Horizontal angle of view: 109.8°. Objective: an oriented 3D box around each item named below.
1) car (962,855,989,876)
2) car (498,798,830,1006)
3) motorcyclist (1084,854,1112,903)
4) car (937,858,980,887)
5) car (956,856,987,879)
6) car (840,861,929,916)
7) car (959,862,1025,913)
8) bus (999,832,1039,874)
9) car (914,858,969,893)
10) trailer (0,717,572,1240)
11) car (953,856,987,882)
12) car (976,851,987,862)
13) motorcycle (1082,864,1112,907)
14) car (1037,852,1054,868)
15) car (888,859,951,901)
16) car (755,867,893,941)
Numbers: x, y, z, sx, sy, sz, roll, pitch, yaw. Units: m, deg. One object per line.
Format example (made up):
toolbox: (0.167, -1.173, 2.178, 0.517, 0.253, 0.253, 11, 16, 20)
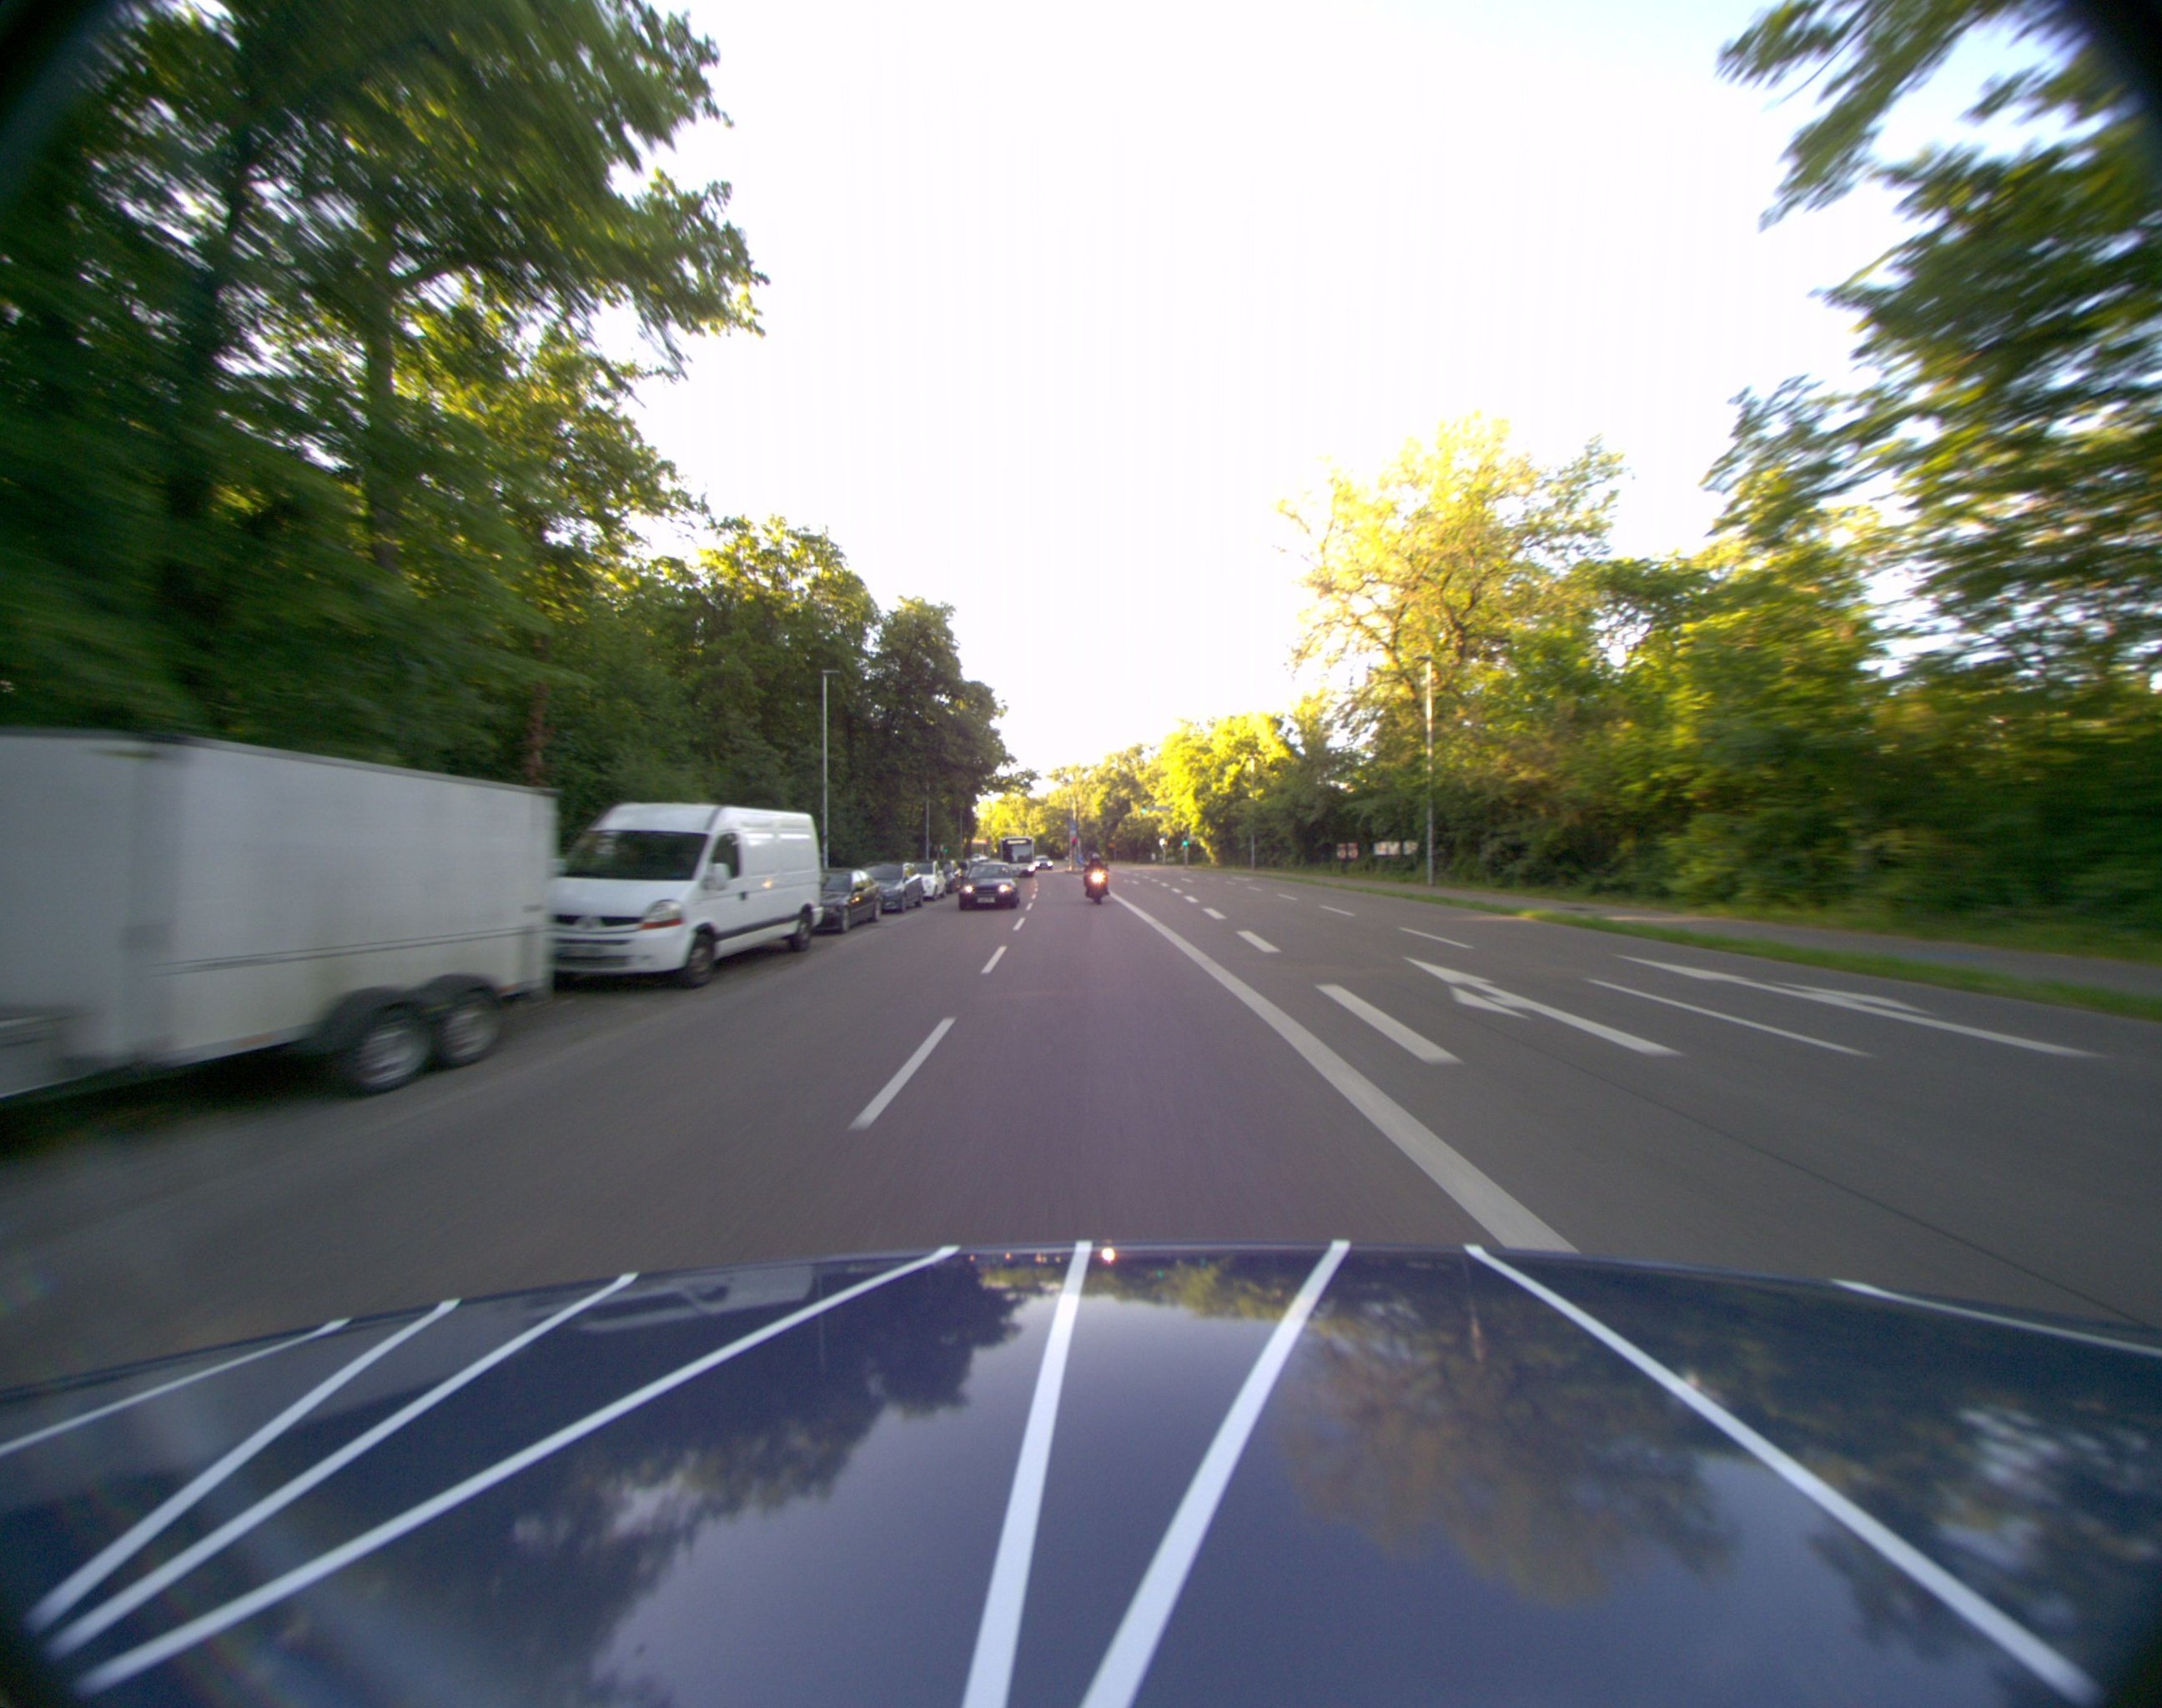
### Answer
car: (-7.719, 0.826, 55.710, 1.723, 1.460, 4.200, 0, 1, -4)
car: (-5.742, 0.525, 11.572, 1.909, 2.409, 5.575, 0, 1, 1)
motorcyclist: (0.538, 0.744, 23.948, 0.830, 1.484, 1.024, -2, 1, 3)
car: (-6.382, 0.927, 40.036, 1.723, 1.403, 4.485, 0, 1, -3)
car: (-7.204, 0.855, 50.152, 1.723, 1.403, 4.122, 0, 1, -4)
car: (-5.870, 0.982, 23.166, 1.682, 1.455, 4.065, 0, 1, -1)
car: (-2.744, 0.993, 24.094, 1.679, 1.351, 3.993, -2, 1, -1)
bus: (-4.967, -0.105, 62.494, 2.813, 3.030, 12.881, -2, 0, -3)
car: (-6.313, 0.935, 34.868, 1.722, 1.403, 4.905, 0, 1, -1)
trailer: (-5.918, 0.559, 4.789, 1.909, 2.409, 5.126, 0, 1, 1)
car: (-6.560, 0.882, 45.309, 1.723, 1.403, 4.485, 0, 1, -4)
car: (-19.031, 0.399, 145.149, 1.821, 1.910, 5.261, -2, 1, -11)
motorcycle: (0.536, 0.966, 23.952, 0.830, 1.212, 2.604, -2, 1, 3)
car: (-3.740, 0.578, 79.409, 1.679, 1.552, 3.992, -2, 1, -3)
car: (-6.128, 0.940, 29.195, 1.682, 1.455, 3.688, 0, 1, -1)
car: (-5.793, 1.055, 17.770, 1.682, 1.392, 4.649, 0, 1, -1)
